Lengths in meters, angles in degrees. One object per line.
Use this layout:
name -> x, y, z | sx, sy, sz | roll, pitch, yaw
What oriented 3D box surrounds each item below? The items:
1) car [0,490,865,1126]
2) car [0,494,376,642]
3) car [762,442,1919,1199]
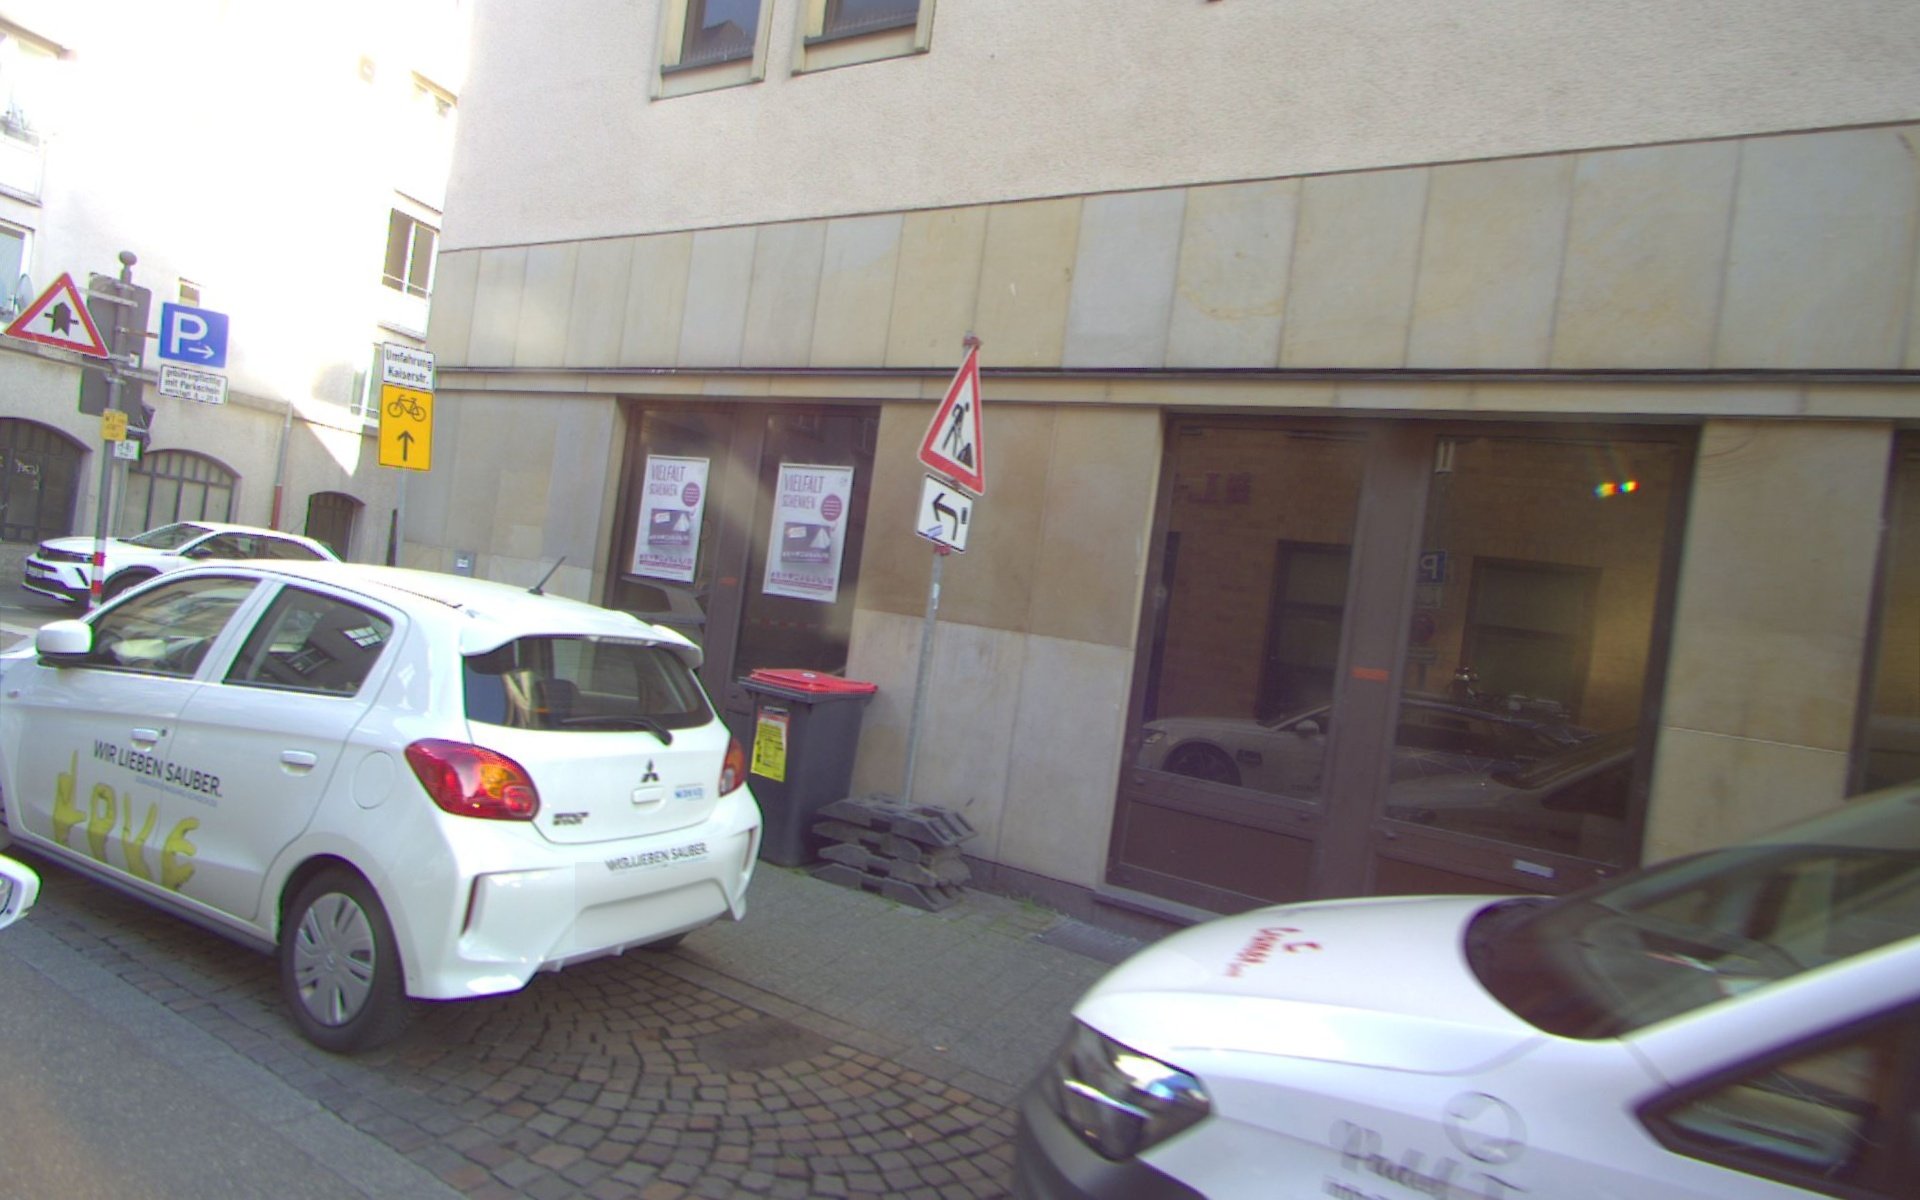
car -> -2.701, 0.517, 4.467 | 3.990, 1.536, 1.894 | 8, -1, 26
car -> -11.616, -0.385, 15.323 | 1.869, 1.571, 4.227 | 8, -2, 28
car -> 2.344, 0.985, 1.306 | 5.126, 1.811, 1.835 | 7, -2, 31
